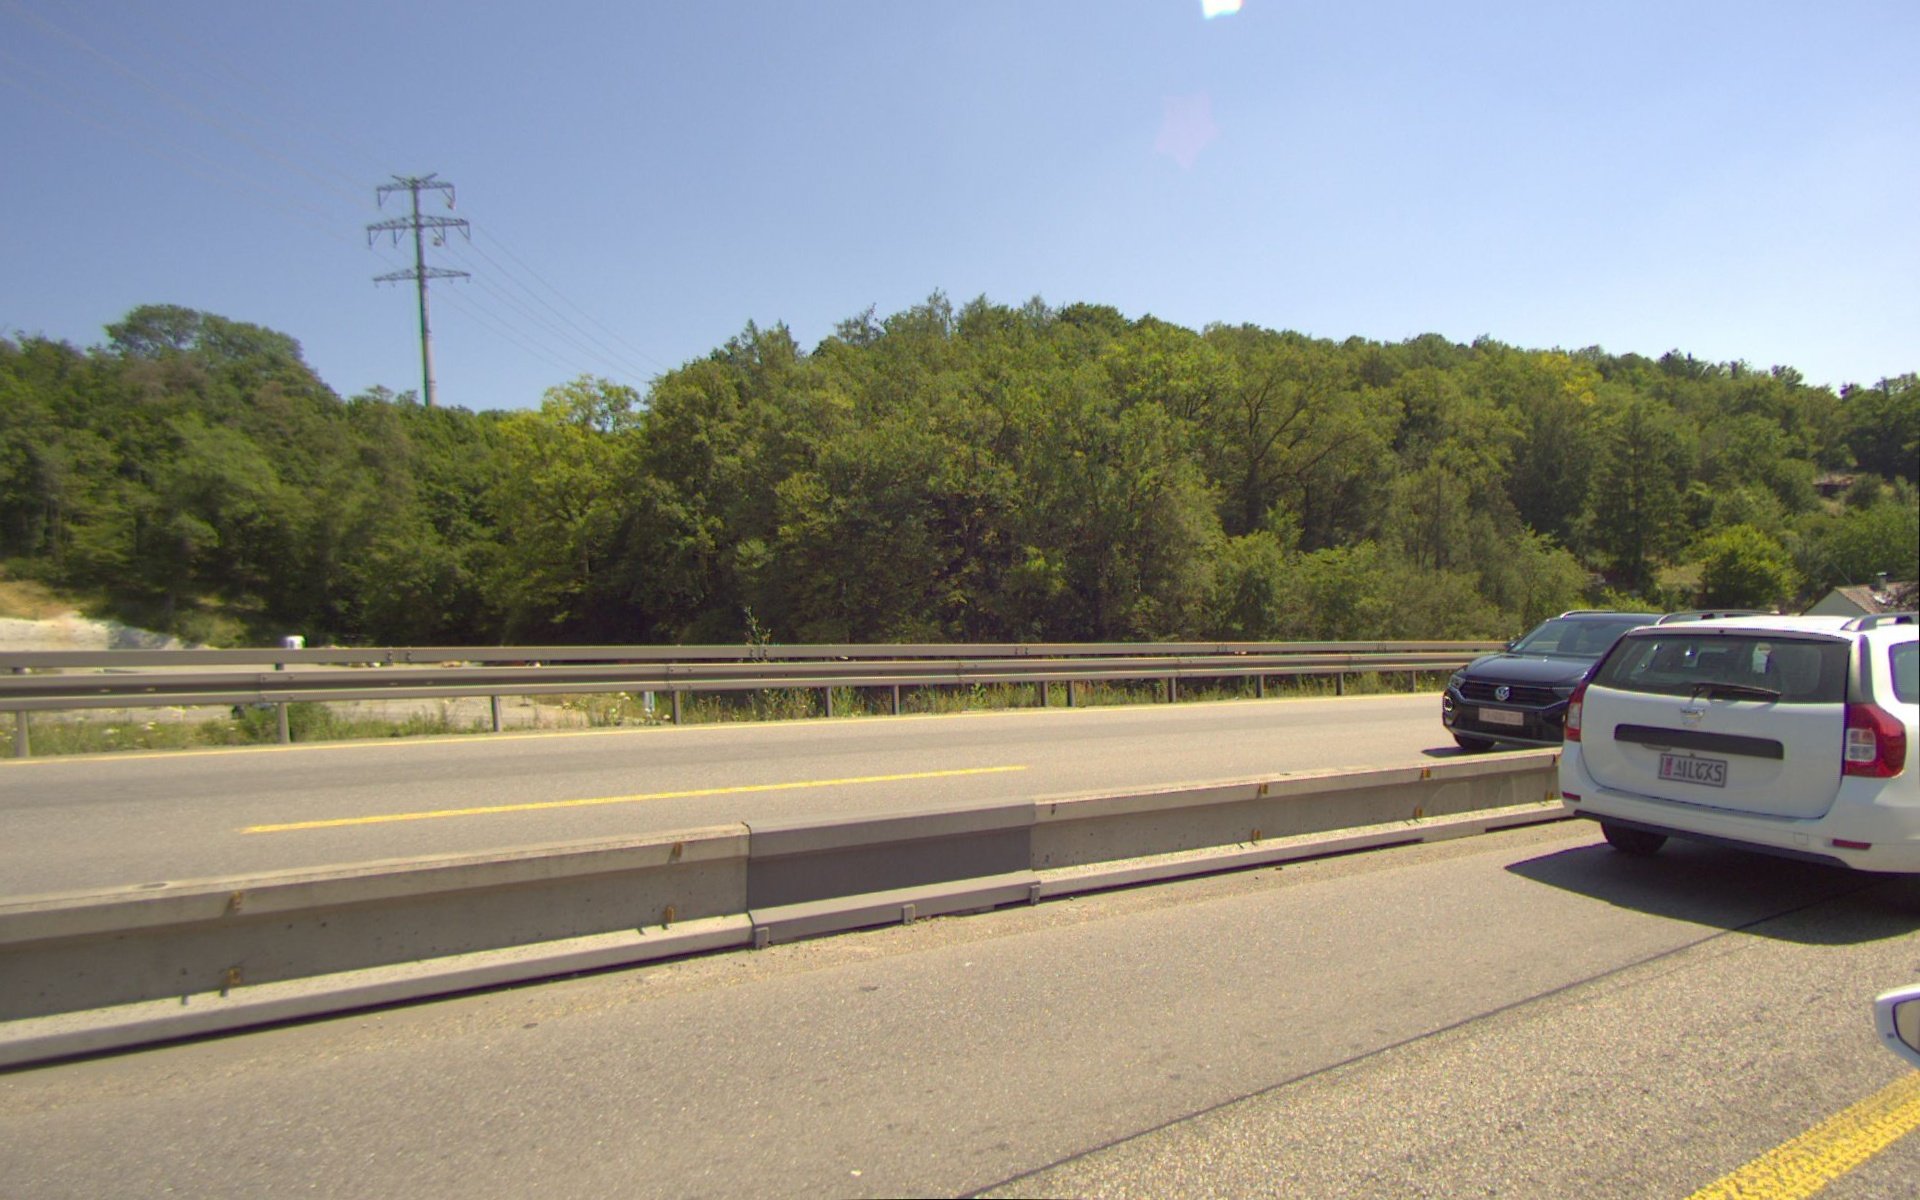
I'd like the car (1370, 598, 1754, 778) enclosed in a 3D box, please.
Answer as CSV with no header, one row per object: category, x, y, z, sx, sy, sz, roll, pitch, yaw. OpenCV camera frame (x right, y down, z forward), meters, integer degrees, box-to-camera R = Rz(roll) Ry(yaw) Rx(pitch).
car,6.383,0.825,10.584,3.988,1.572,1.721,2,0,-30

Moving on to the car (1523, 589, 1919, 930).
car,5.528,0.780,6.199,4.215,1.503,1.645,2,-2,-29
